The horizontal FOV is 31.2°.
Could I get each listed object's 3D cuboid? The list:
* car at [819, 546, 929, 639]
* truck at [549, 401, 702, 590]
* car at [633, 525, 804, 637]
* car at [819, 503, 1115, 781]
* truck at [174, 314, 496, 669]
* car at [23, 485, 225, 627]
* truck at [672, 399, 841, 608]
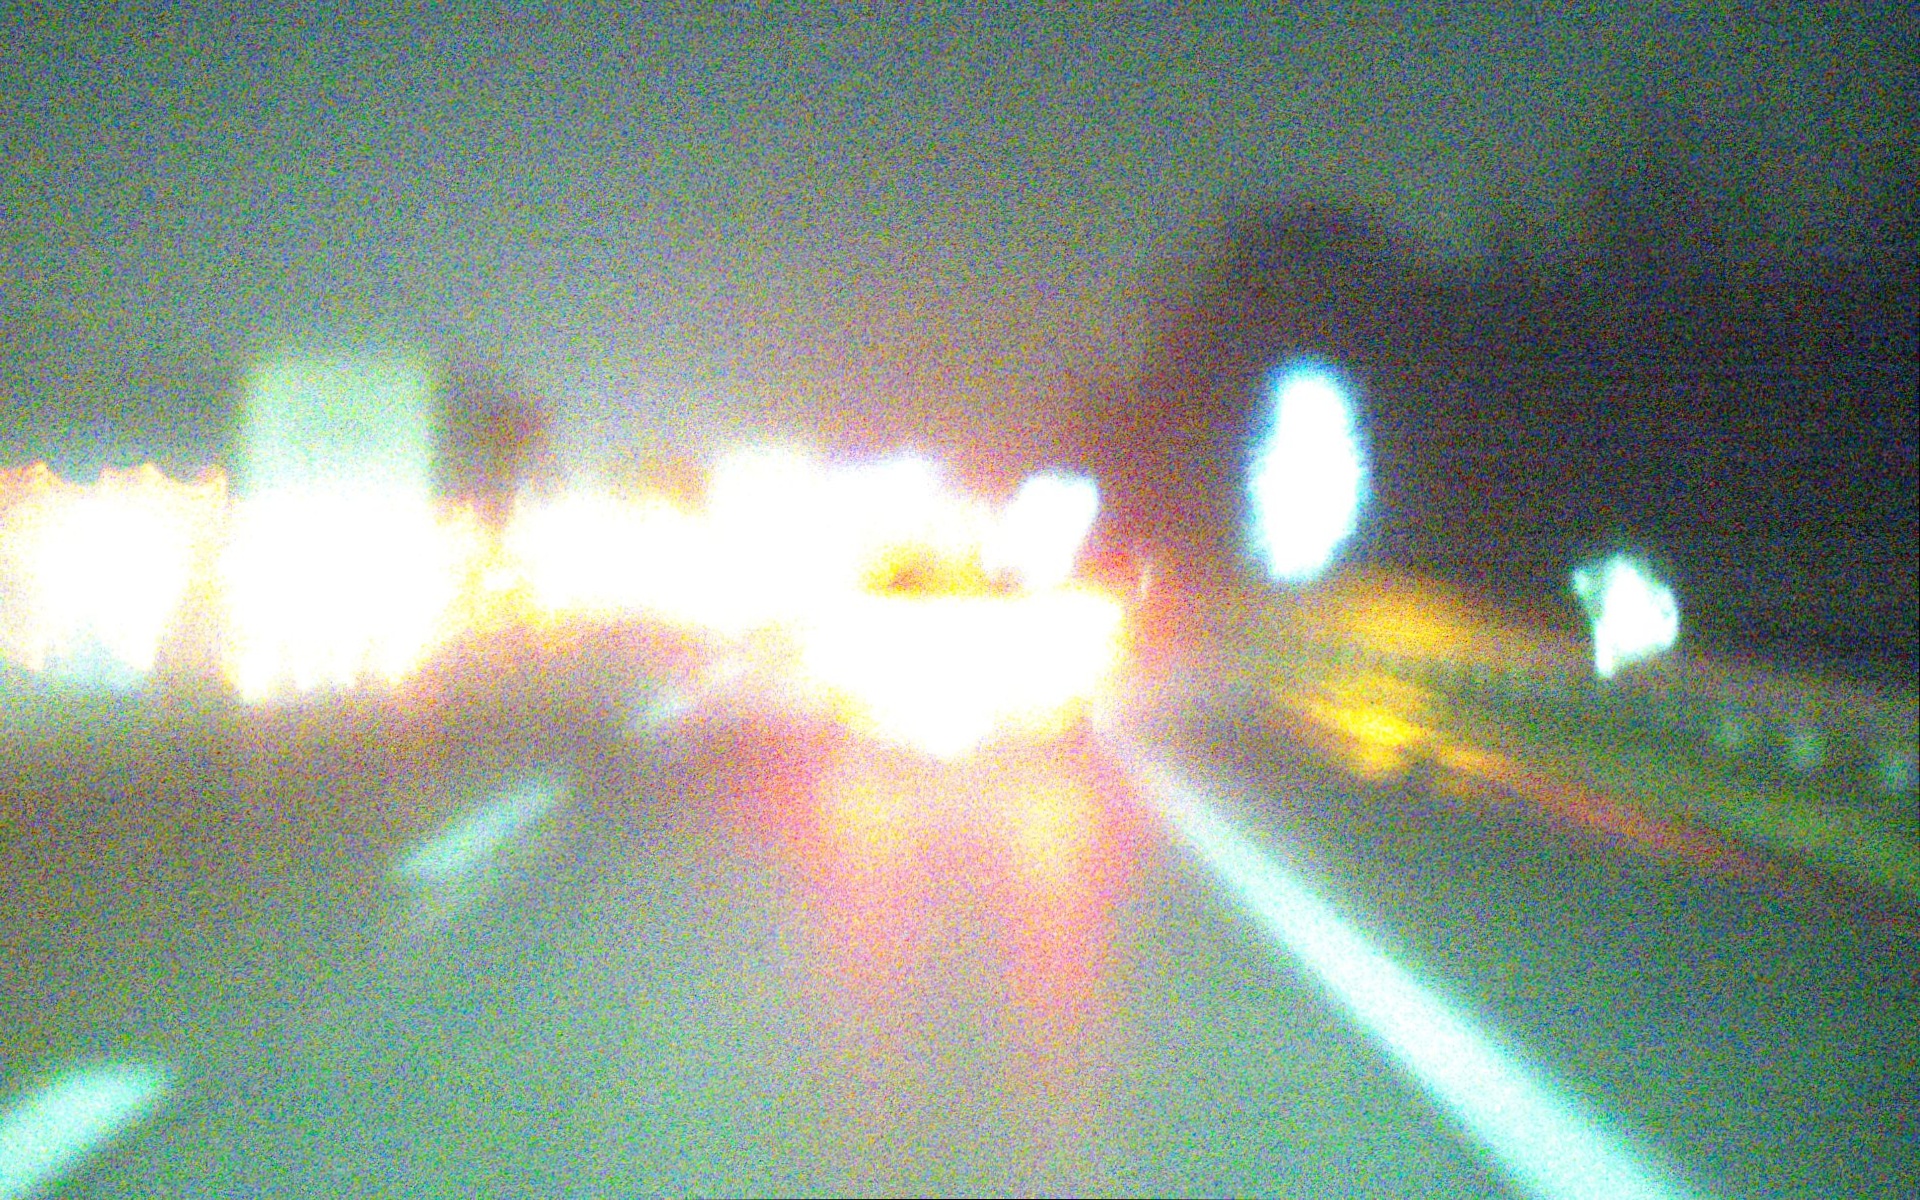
[{"bbox_3d":[-1.640,-0.180,66.760,1.993,1.698,4.458,1,1,0],"label":"car"},{"bbox_3d":[-10.184,-3.135,105.889,4.253,5.425,10.886,1,1,-4],"label":"truck"},{"bbox_3d":[-4.563,-0.387,65.836,2.833,2.007,5.510,1,1,0],"label":"car"},{"bbox_3d":[0.062,0.238,24.190,1.878,1.756,4.000,1,1,0],"label":"car"},{"bbox_3d":[-9.096,-1.538,51.352,3.655,4.721,9.854,1,1,-4],"label":"truck"},{"bbox_3d":[-13.053,-0.715,53.995,2.123,2.097,5.630,1,1,-4],"label":"car"},{"bbox_3d":[-5.391,-2.523,91.836,4.161,5.197,9.955,1,1,-3],"label":"truck"}]
